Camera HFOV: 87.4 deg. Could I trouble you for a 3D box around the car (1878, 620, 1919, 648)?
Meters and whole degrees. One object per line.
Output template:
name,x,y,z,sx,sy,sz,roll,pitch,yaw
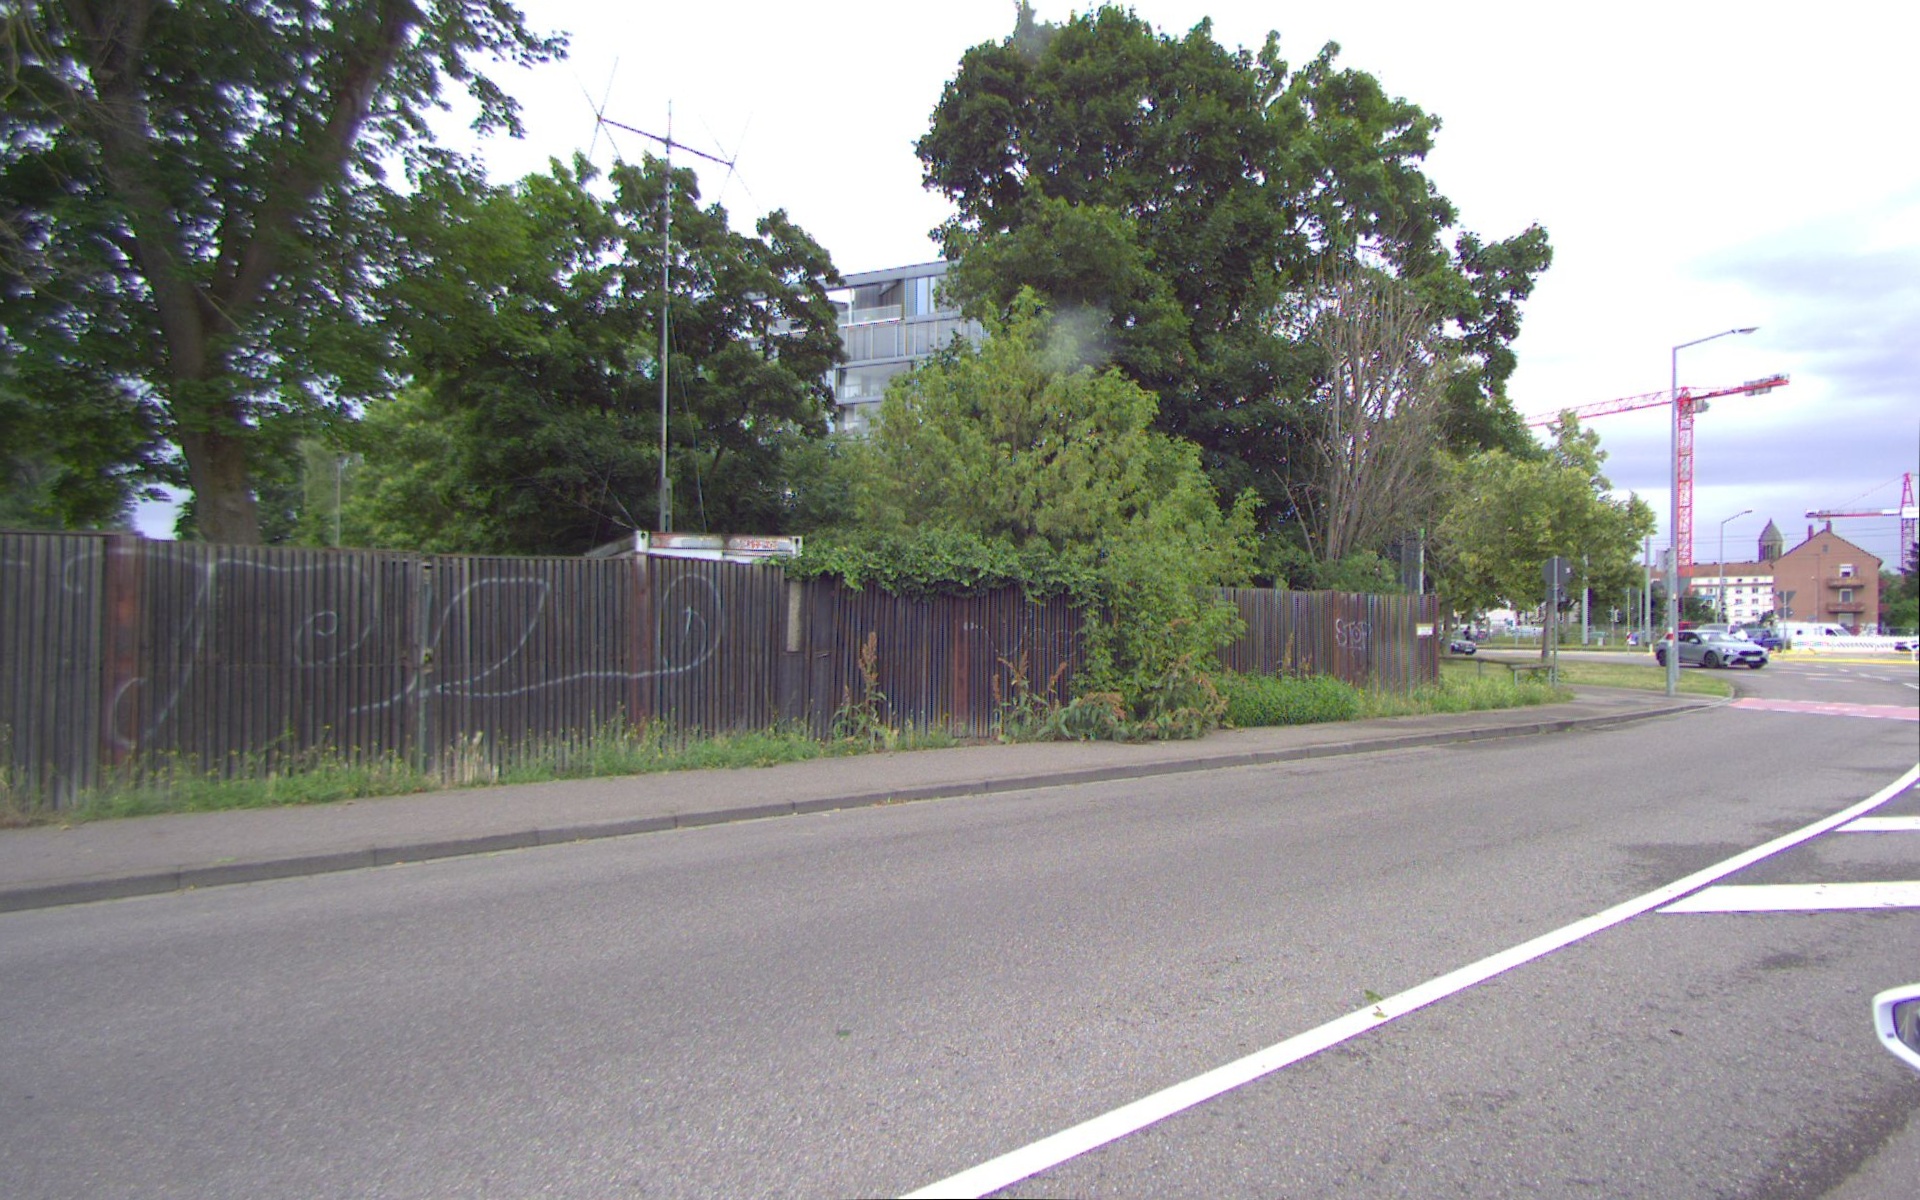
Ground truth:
car,59.040,2.080,60.989,4.580,1.656,2.001,0,-1,5

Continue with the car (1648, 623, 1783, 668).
car,29.279,1.713,39.148,2.057,1.624,4.442,0,-1,2

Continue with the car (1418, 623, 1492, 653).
car,29.720,2.261,60.472,1.965,1.706,3.991,1,-1,-12

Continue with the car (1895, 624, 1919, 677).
car,30.569,1.520,29.342,2.062,1.624,4.432,1,-1,-11

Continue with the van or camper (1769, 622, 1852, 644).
van or camper,84.061,3.233,99.432,1.969,2.040,6.171,1,-1,-19

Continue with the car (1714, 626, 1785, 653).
car,45.831,2.268,58.315,3.953,1.509,1.922,1,-1,-30

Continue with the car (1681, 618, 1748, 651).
car,40.951,1.863,54.496,4.152,1.706,1.916,1,-1,-38
